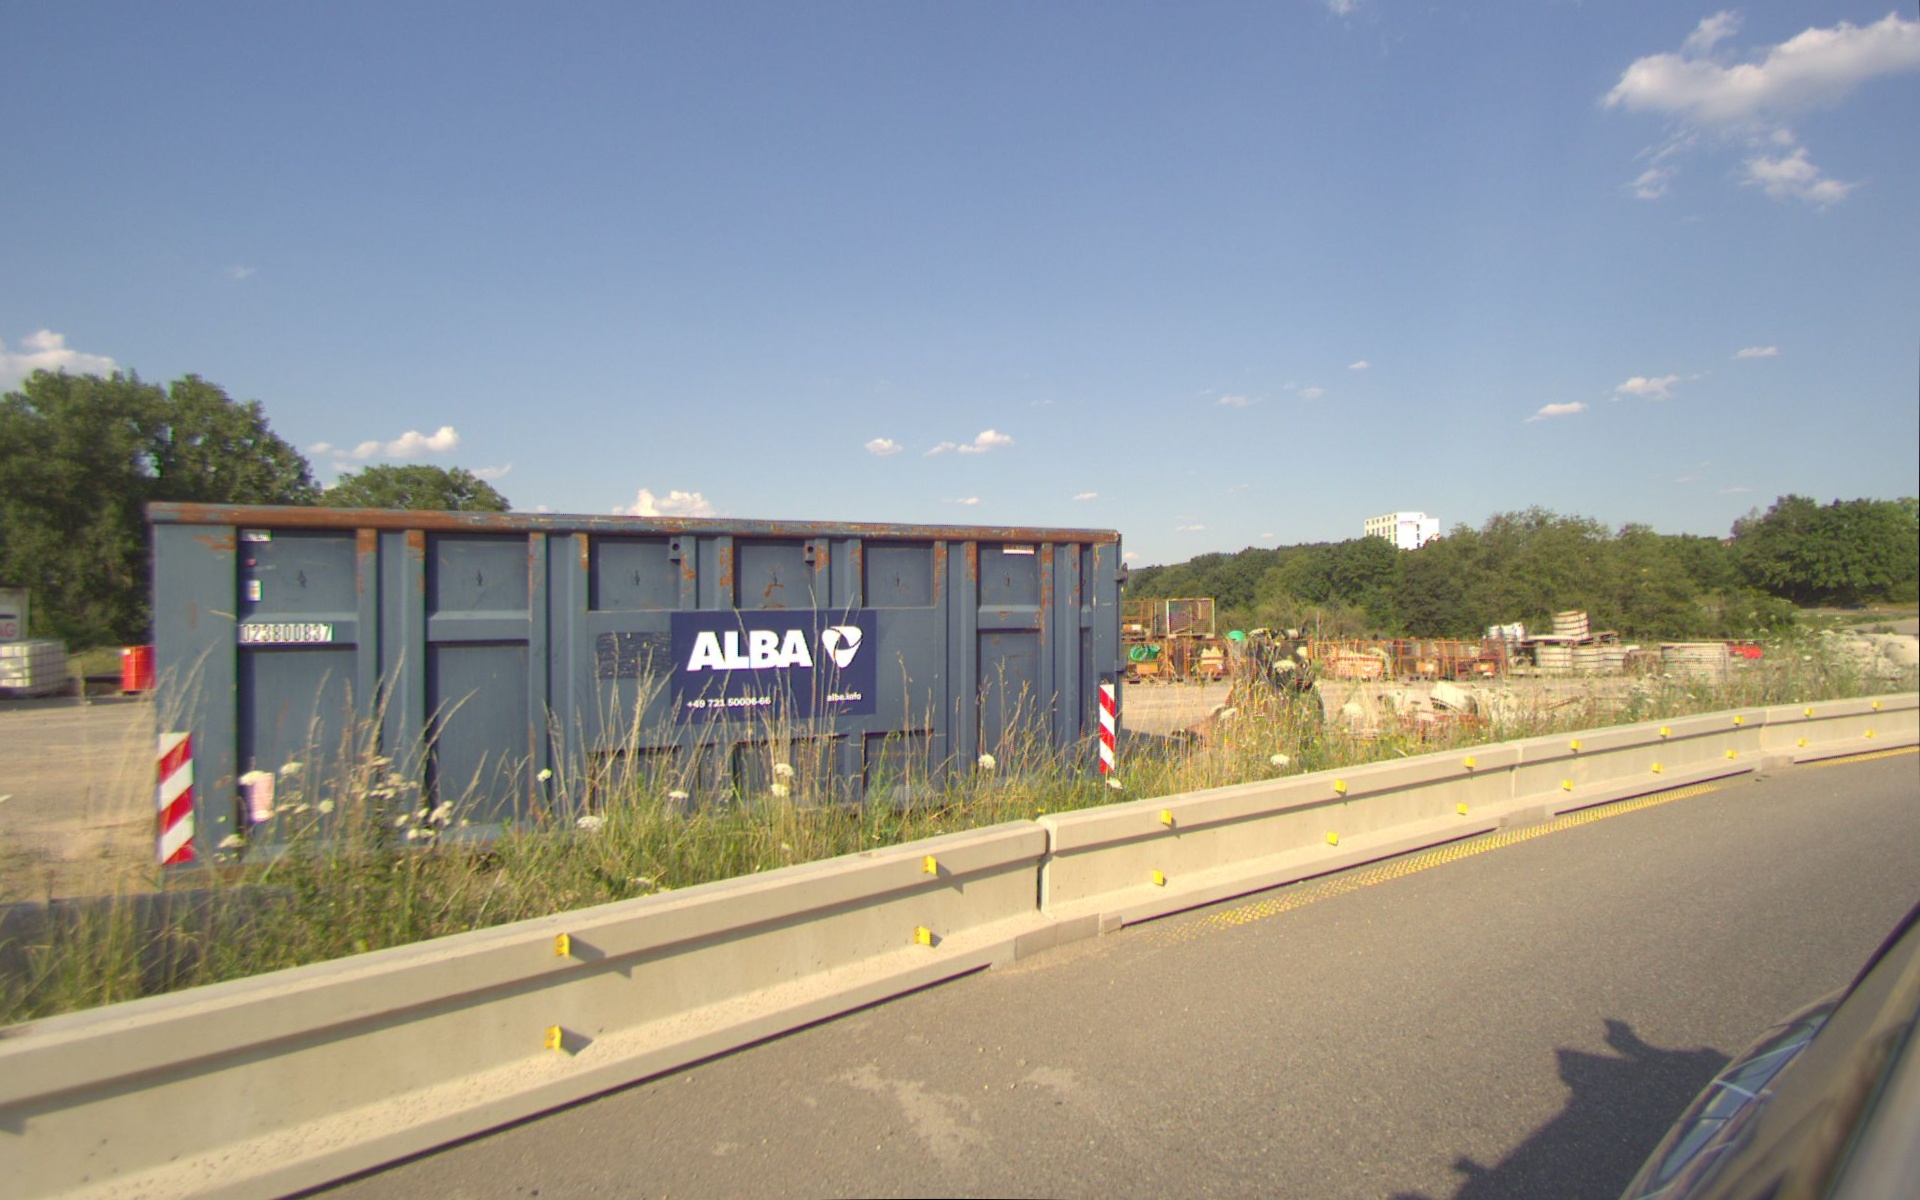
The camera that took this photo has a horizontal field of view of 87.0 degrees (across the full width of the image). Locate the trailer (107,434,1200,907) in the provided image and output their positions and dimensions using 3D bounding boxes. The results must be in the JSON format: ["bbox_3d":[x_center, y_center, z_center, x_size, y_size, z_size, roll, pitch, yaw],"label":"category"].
[{"bbox_3d":[-1.881,0.348,8.146,7.080,2.445,3.017,-1,-1,-26],"label":"trailer"}]
